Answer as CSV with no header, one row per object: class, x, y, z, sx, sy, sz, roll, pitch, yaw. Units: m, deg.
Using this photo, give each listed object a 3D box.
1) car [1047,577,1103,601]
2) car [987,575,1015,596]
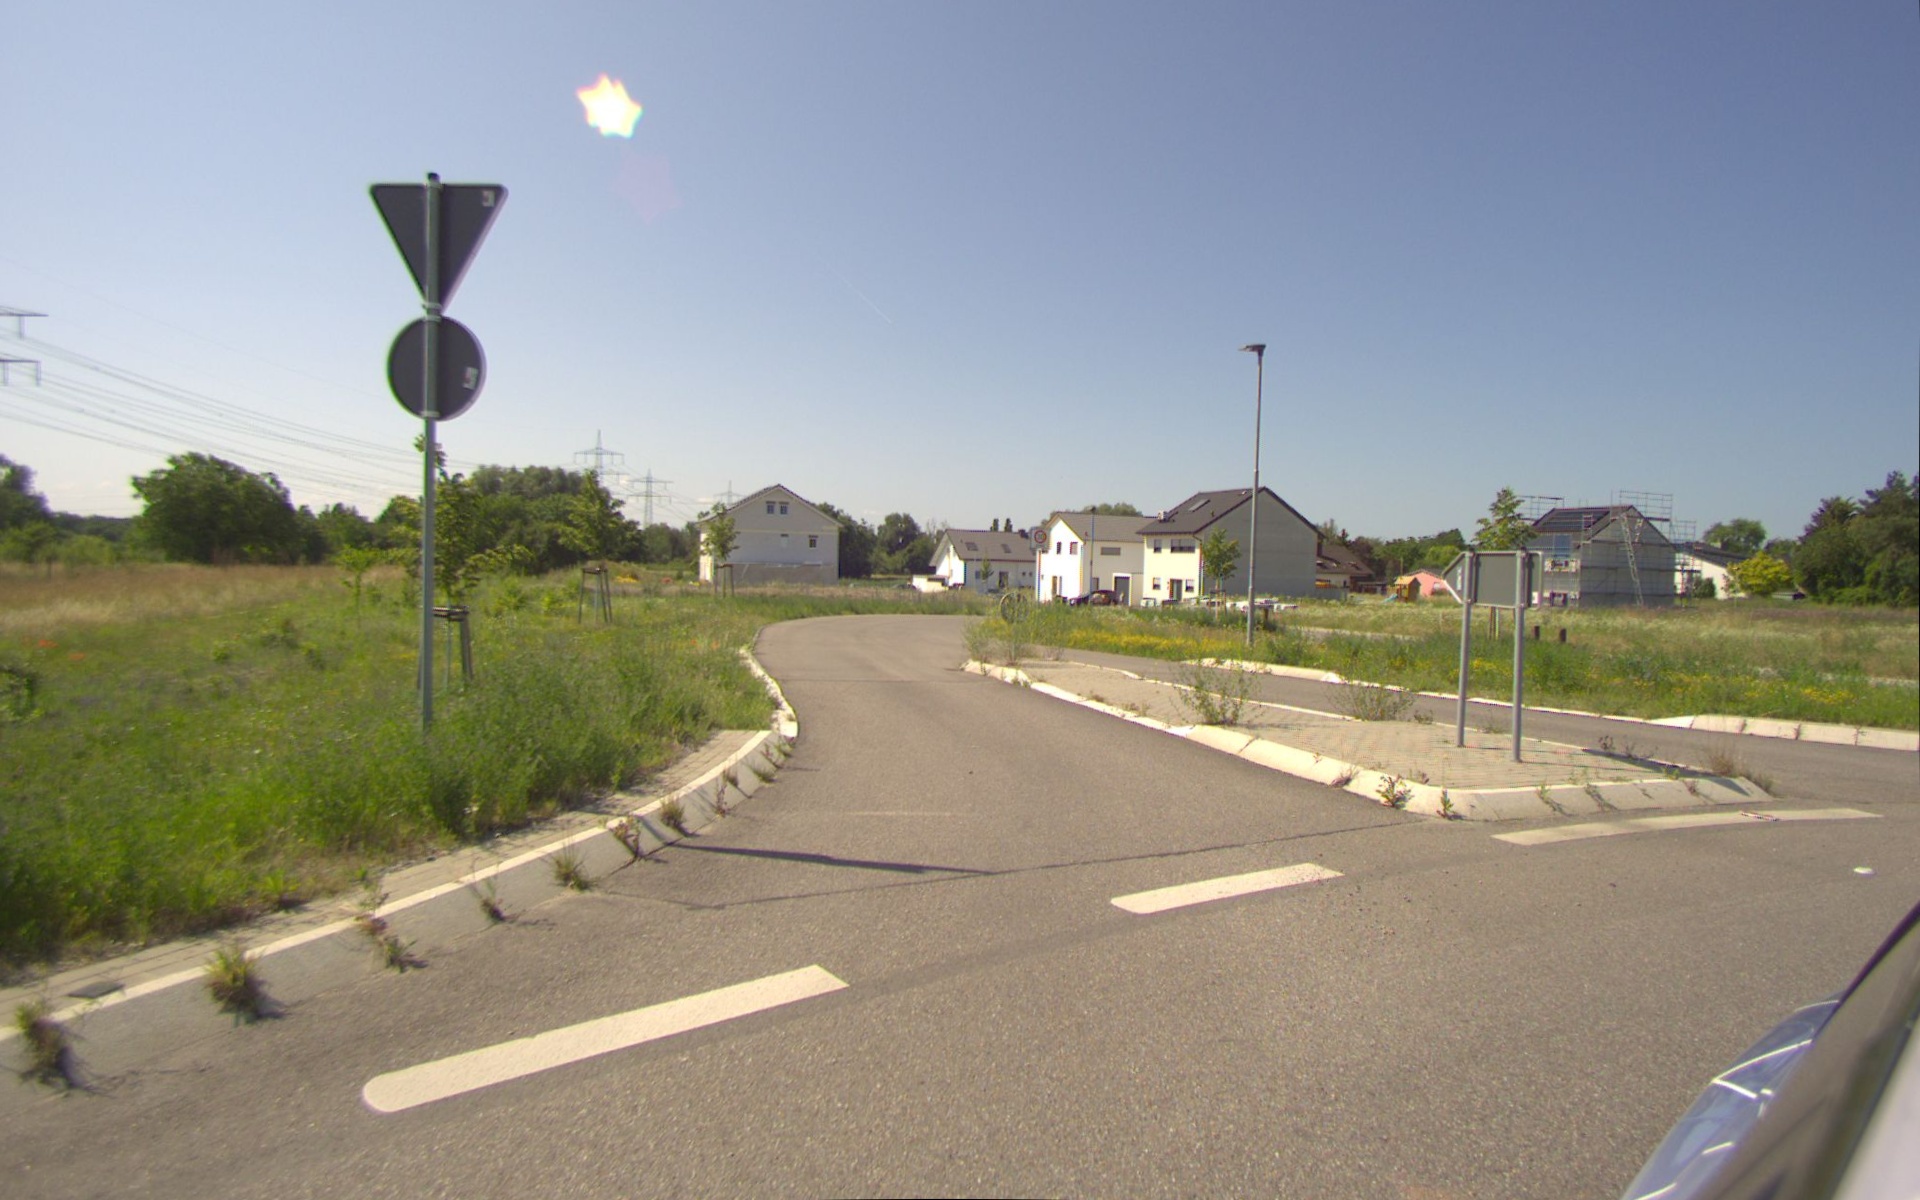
car,9.228,-0.863,81.330,3.915,1.816,2.005,1,1,-18
car,3.414,-1.185,84.876,1.646,1.683,3.493,1,0,-10
